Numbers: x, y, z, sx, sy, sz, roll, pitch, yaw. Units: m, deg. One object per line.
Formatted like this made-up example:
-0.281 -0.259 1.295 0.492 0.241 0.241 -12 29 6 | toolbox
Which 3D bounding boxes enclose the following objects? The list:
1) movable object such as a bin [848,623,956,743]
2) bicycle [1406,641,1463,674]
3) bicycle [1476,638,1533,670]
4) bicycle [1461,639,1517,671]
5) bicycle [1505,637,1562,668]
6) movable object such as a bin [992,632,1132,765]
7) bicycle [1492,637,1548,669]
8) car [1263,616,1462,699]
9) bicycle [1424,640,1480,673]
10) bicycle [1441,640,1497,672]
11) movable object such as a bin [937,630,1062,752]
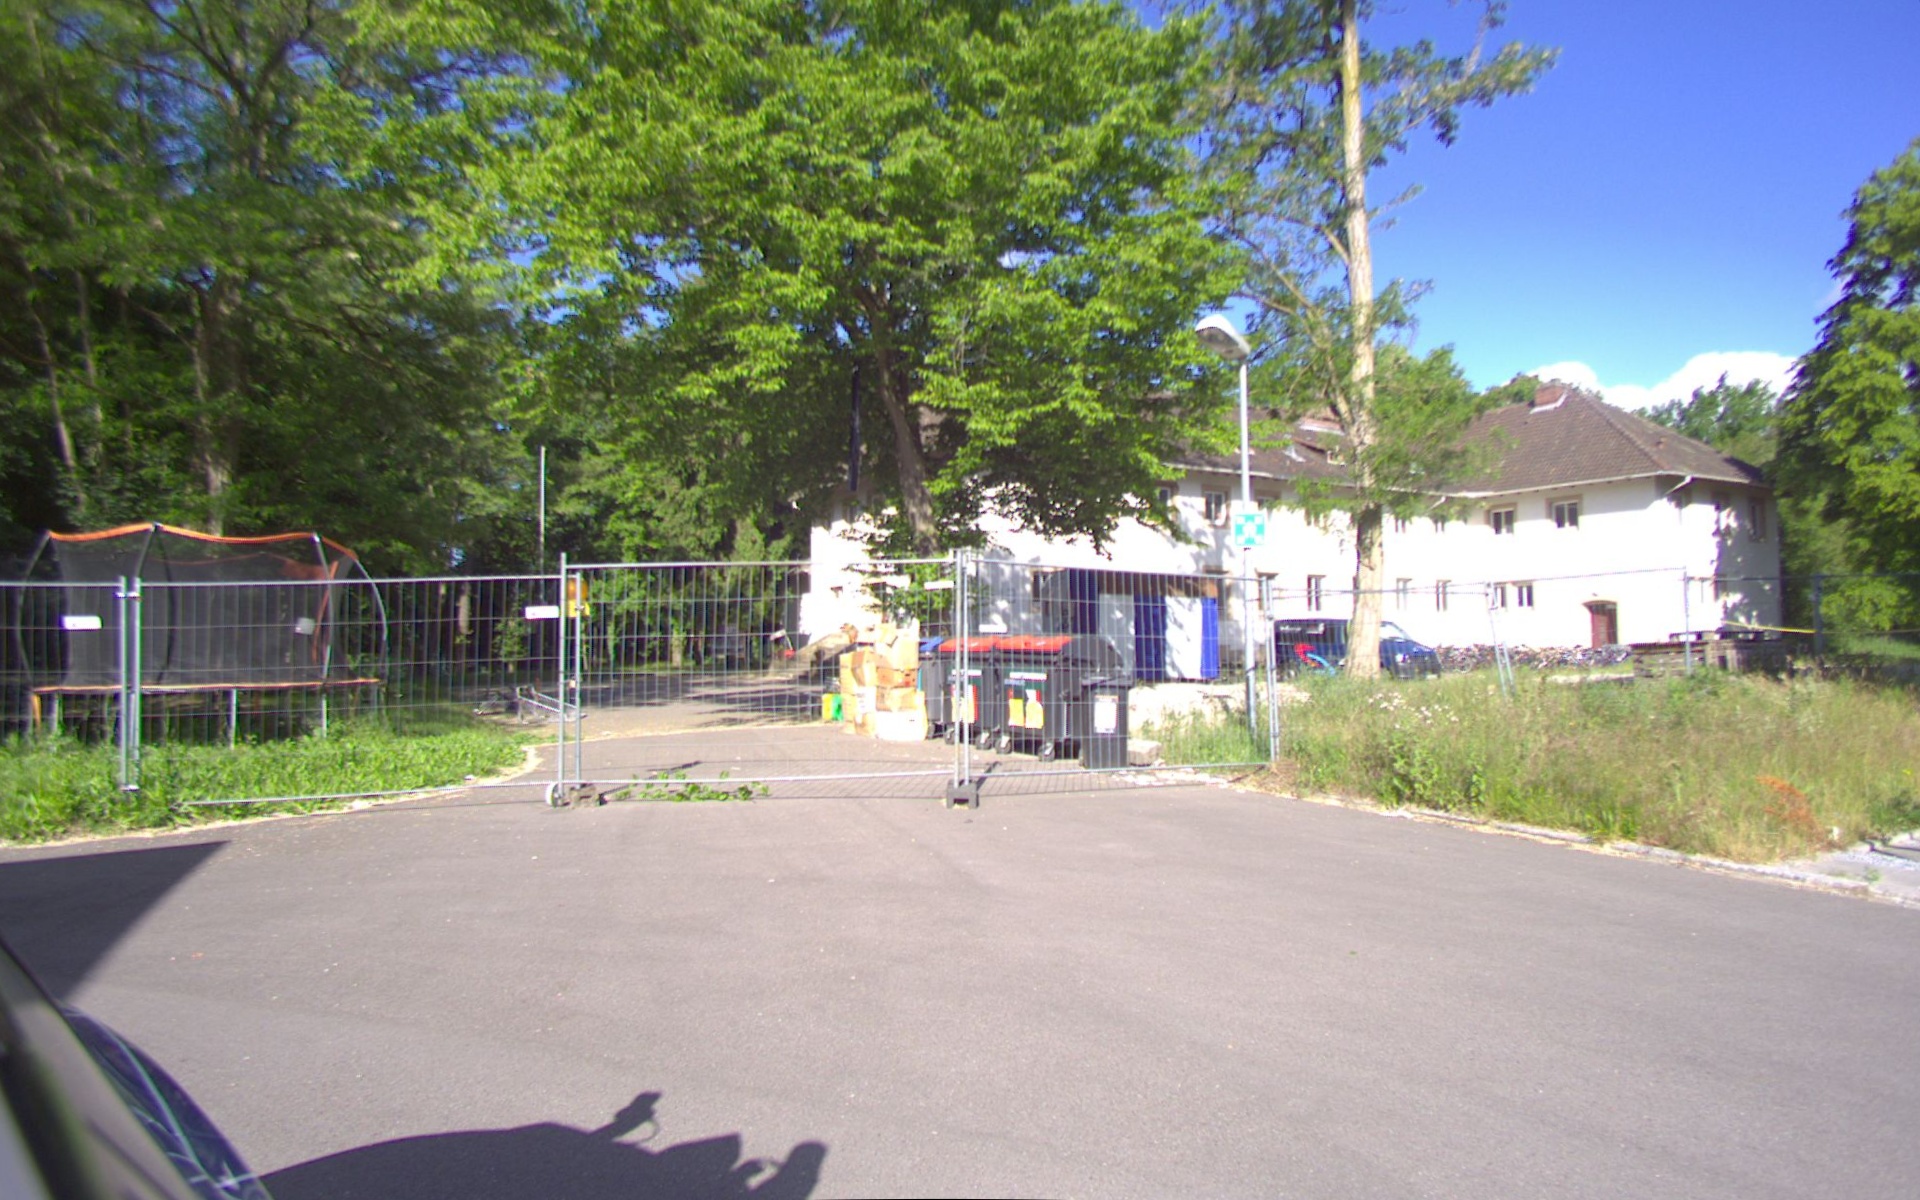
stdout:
-0.847 1.145 14.593 1.075 1.609 1.234 1 -1 -35 | movable object such as a bin
17.805 2.151 38.009 0.781 1.141 1.840 -1 0 -24 | bicycle
21.447 2.102 39.897 0.782 1.141 1.850 -1 0 -24 | bicycle
20.574 2.114 39.406 0.782 1.141 1.850 -1 0 -24 | bicycle
23.065 2.081 40.732 0.782 1.141 1.848 -1 0 -24 | bicycle
1.194 1.118 12.022 1.075 1.443 1.234 -1 -1 -35 | movable object such as a bin
22.275 2.091 40.295 0.782 1.141 1.850 -1 0 -24 | bicycle
11.046 1.500 28.141 2.024 2.027 4.890 -1 0 -32 | car
18.674 2.139 38.471 0.783 1.141 1.827 -1 0 -24 | bicycle
19.524 2.128 38.877 0.745 1.141 1.835 -1 0 -24 | bicycle
0.500 1.136 13.167 1.075 1.450 1.234 -1 -1 -35 | movable object such as a bin
